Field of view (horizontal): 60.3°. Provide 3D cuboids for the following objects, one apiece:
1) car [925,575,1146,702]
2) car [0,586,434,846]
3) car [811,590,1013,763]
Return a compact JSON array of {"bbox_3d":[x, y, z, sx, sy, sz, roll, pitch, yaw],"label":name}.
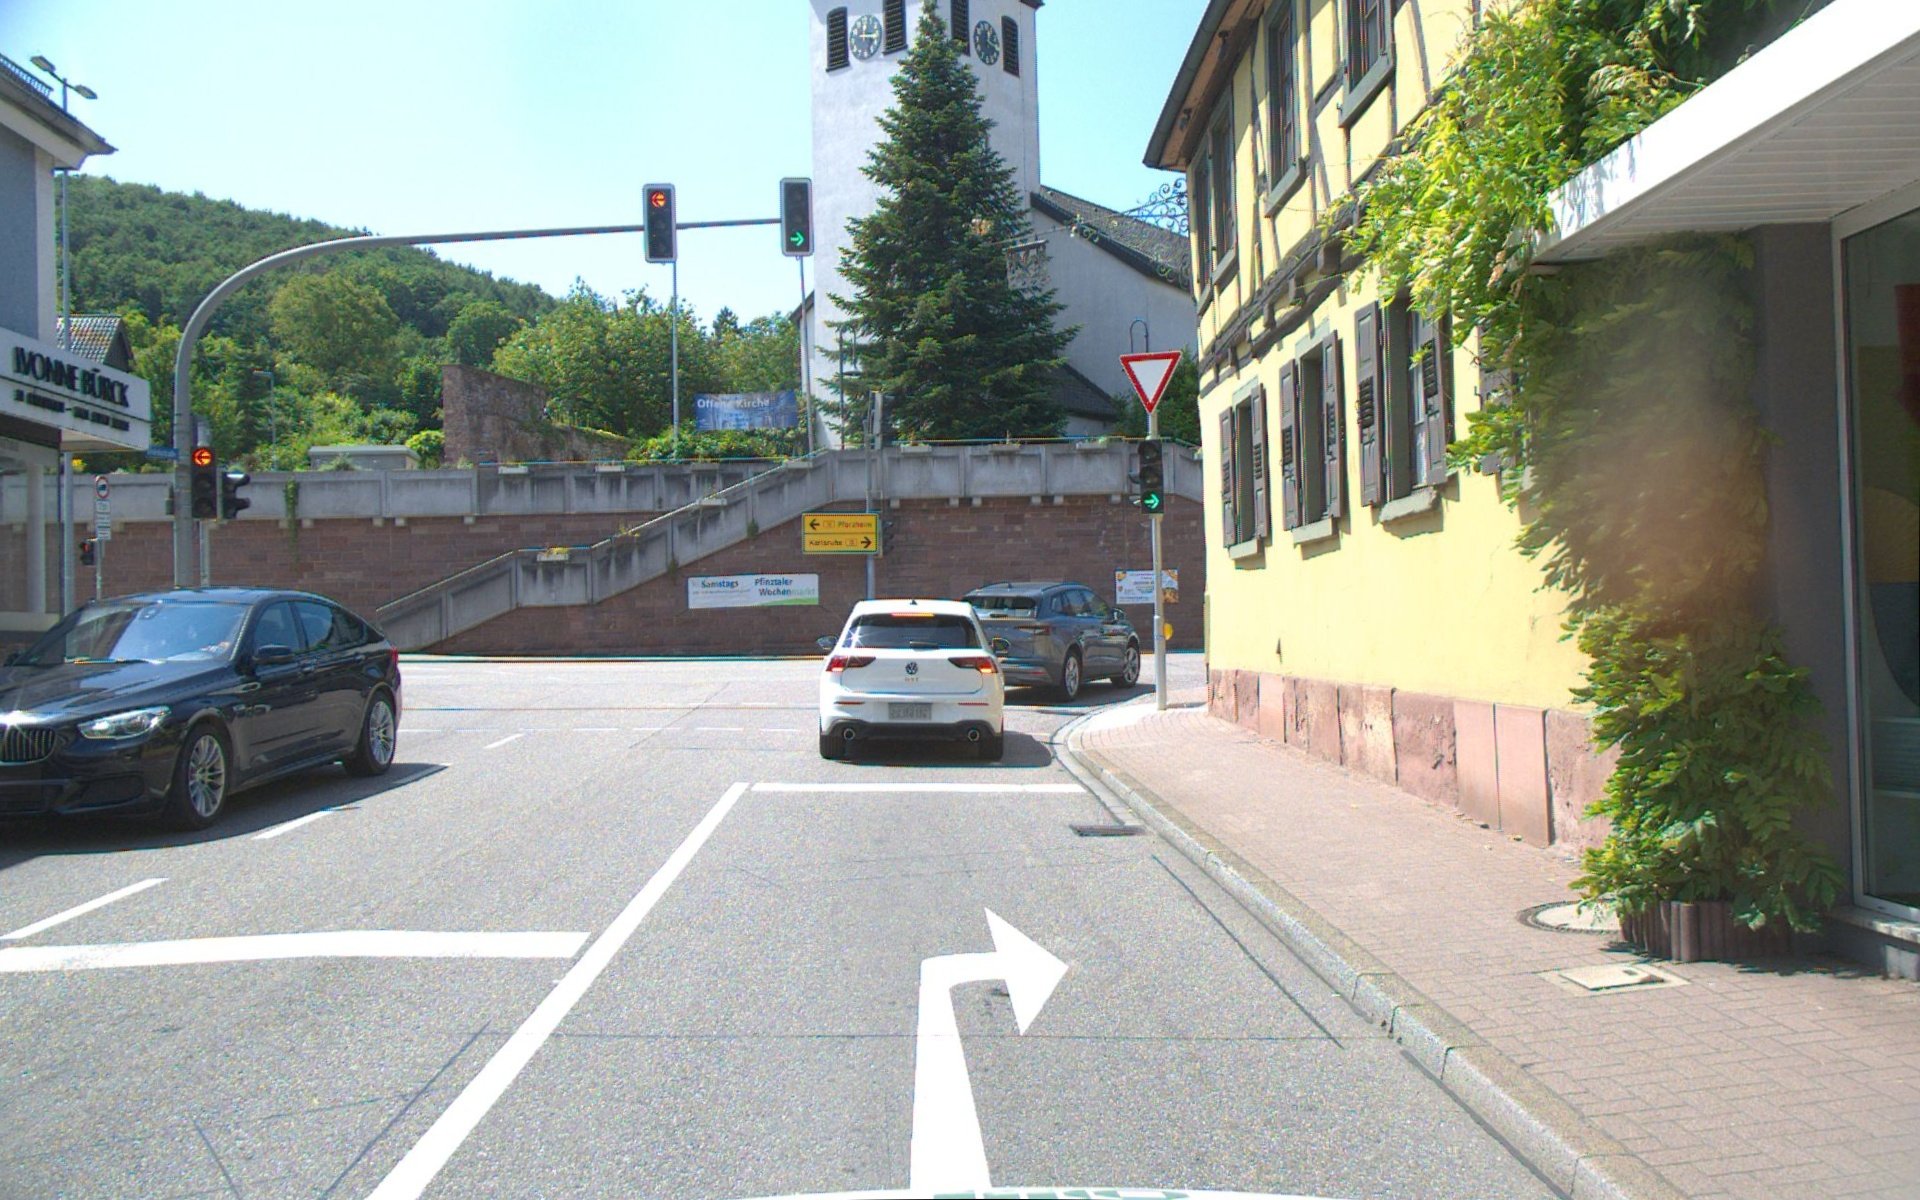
[{"bbox_3d":[1.222,0.492,24.370,1.909,1.610,4.326,0,2,22],"label":"car"},{"bbox_3d":[-5.679,0.723,12.335,1.759,1.513,4.798,-3,0,2],"label":"car"},{"bbox_3d":[-0.387,0.684,16.553,1.746,1.484,3.863,-1,0,1],"label":"car"}]
